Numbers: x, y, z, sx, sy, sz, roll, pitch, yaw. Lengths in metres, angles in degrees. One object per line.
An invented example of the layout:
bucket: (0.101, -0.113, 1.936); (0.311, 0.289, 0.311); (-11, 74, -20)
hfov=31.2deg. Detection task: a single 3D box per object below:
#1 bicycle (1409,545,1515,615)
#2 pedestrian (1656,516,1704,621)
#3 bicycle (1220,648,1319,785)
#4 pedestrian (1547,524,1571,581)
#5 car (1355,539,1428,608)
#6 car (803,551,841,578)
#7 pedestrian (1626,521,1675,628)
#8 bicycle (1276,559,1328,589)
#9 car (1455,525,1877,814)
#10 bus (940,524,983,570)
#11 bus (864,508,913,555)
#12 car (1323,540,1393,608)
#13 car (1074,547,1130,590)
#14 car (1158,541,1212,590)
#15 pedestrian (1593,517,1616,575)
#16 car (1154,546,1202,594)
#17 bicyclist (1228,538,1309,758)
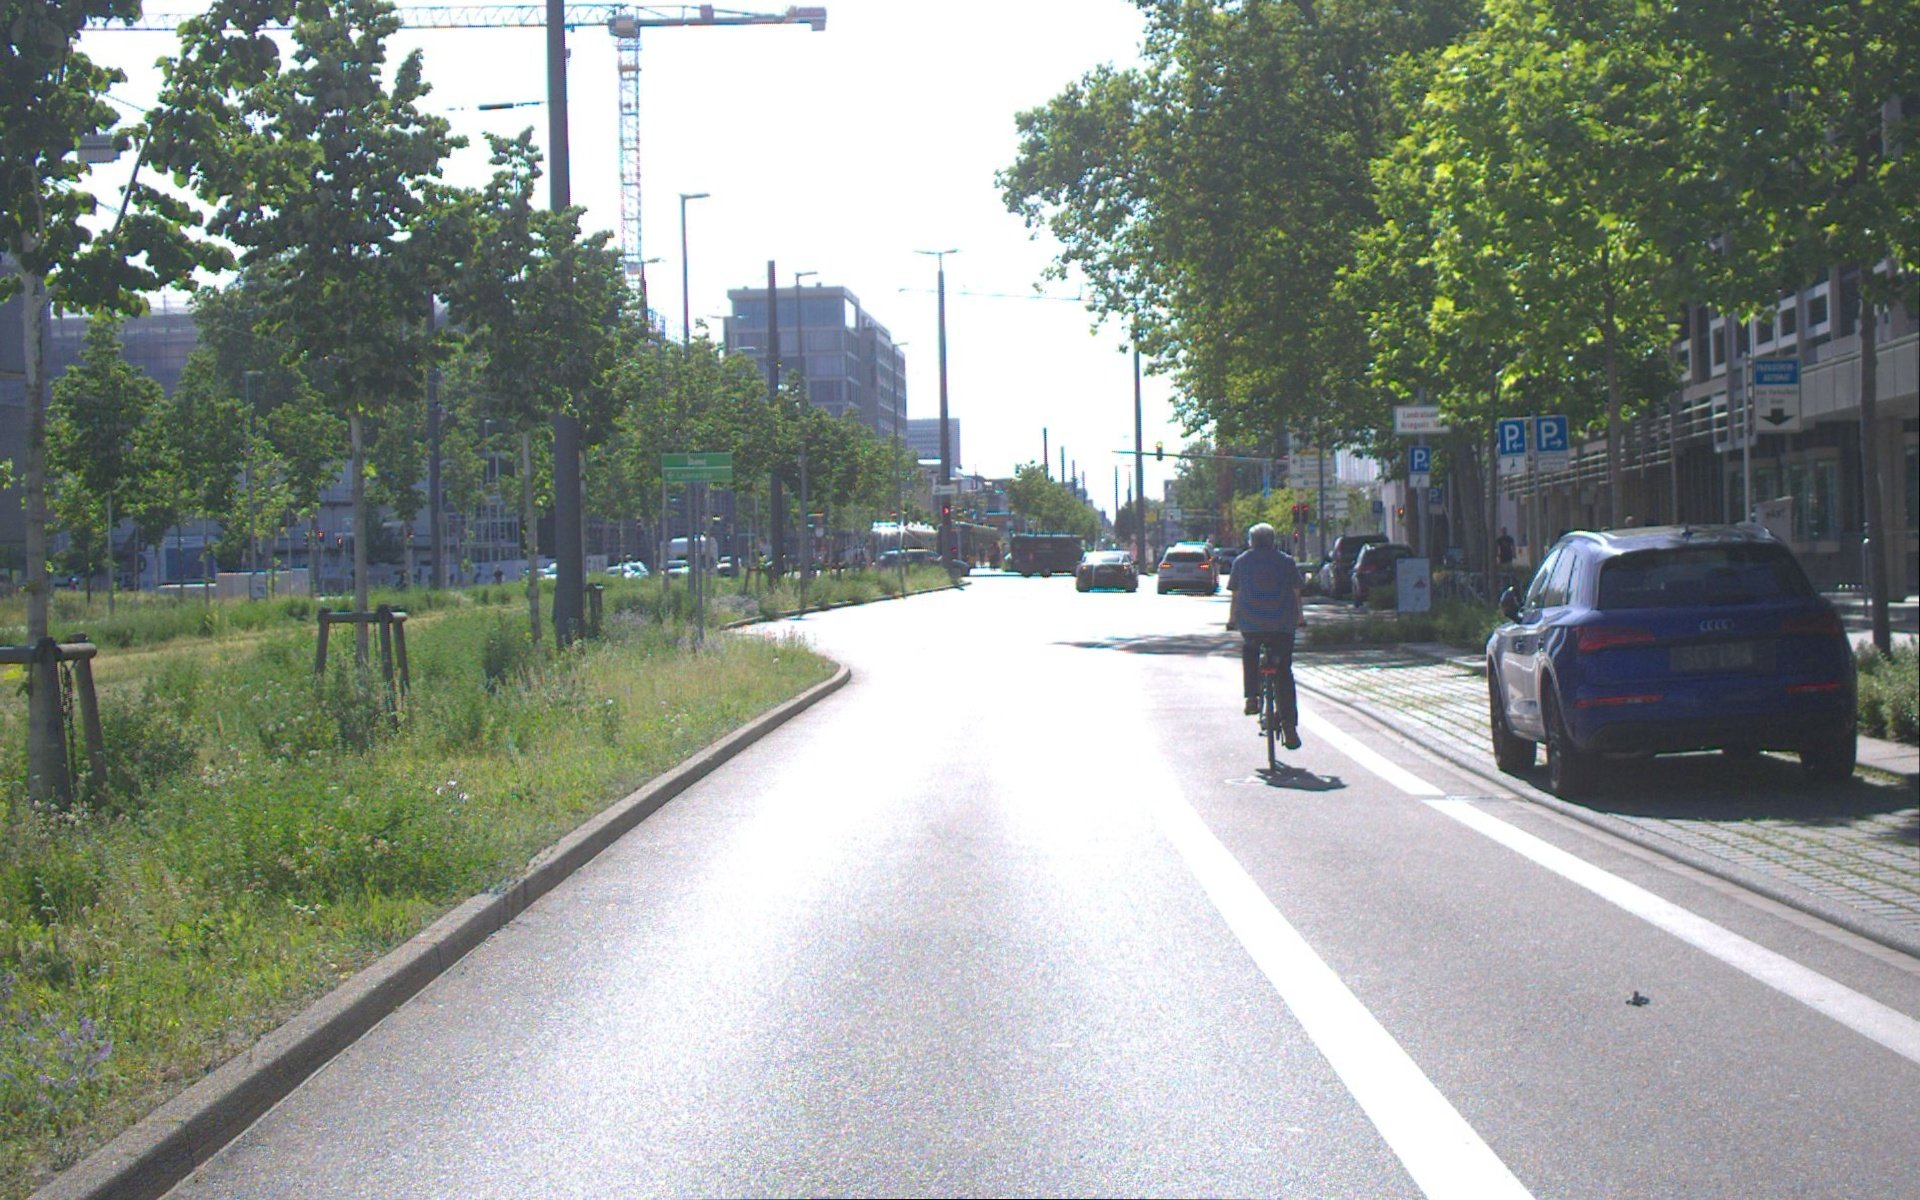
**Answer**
bicycle: (9.889, -0.402, 67.739); (1.937, 1.232, 0.579); (-4, 1, 1)
pedestrian: (10.367, -0.454, 49.527); (0.511, 1.469, 0.736); (-3, 1, 3)
bicycle: (2.268, 0.836, 25.380); (0.497, 0.903, 2.197); (0, 1, -1)
pedestrian: (16.618, -1.319, 95.369); (0.505, 1.579, 0.635); (-1, 1, -4)
car: (10.800, -0.690, 86.229); (1.704, 1.637, 4.635); (-1, 1, 6)
car: (-6.209, -1.579, 155.051); (1.376, 1.174, 3.220); (1, 0, 3)
pedestrian: (11.206, -0.416, 55.783); (0.647, 1.722, 0.803); (-1, 1, 3)
bicycle: (11.785, -0.894, 118.523); (1.693, 0.954, 0.478); (-3, 1, 0)
car: (4.597, 0.382, 23.109); (1.849, 1.651, 4.848); (-3, 1, 1)
bus: (0.152, -3.555, 231.977); (2.628, 2.949, 9.898); (1, 0, 1)
bus: (-4.478, -4.274, 215.771); (2.628, 2.773, 8.844); (1, 0, 1)
car: (11.265, -0.766, 97.539); (1.704, 1.784, 4.192); (-3, 1, 4)
car: (5.090, -1.134, 123.066); (1.912, 1.481, 4.009); (-1, 1, 3)
car: (7.828, -1.218, 119.256); (1.722, 1.612, 4.185); (-1, 1, 6)
pedestrian: (17.905, -1.494, 95.496); (0.553, 1.597, 0.573); (-1, 1, 4)
car: (8.406, -1.172, 132.722); (1.721, 1.776, 4.186); (-1, 1, 3)
bicyclist: (2.268, 0.347, 25.298); (0.512, 1.595, 0.536); (-1, 1, -1)
